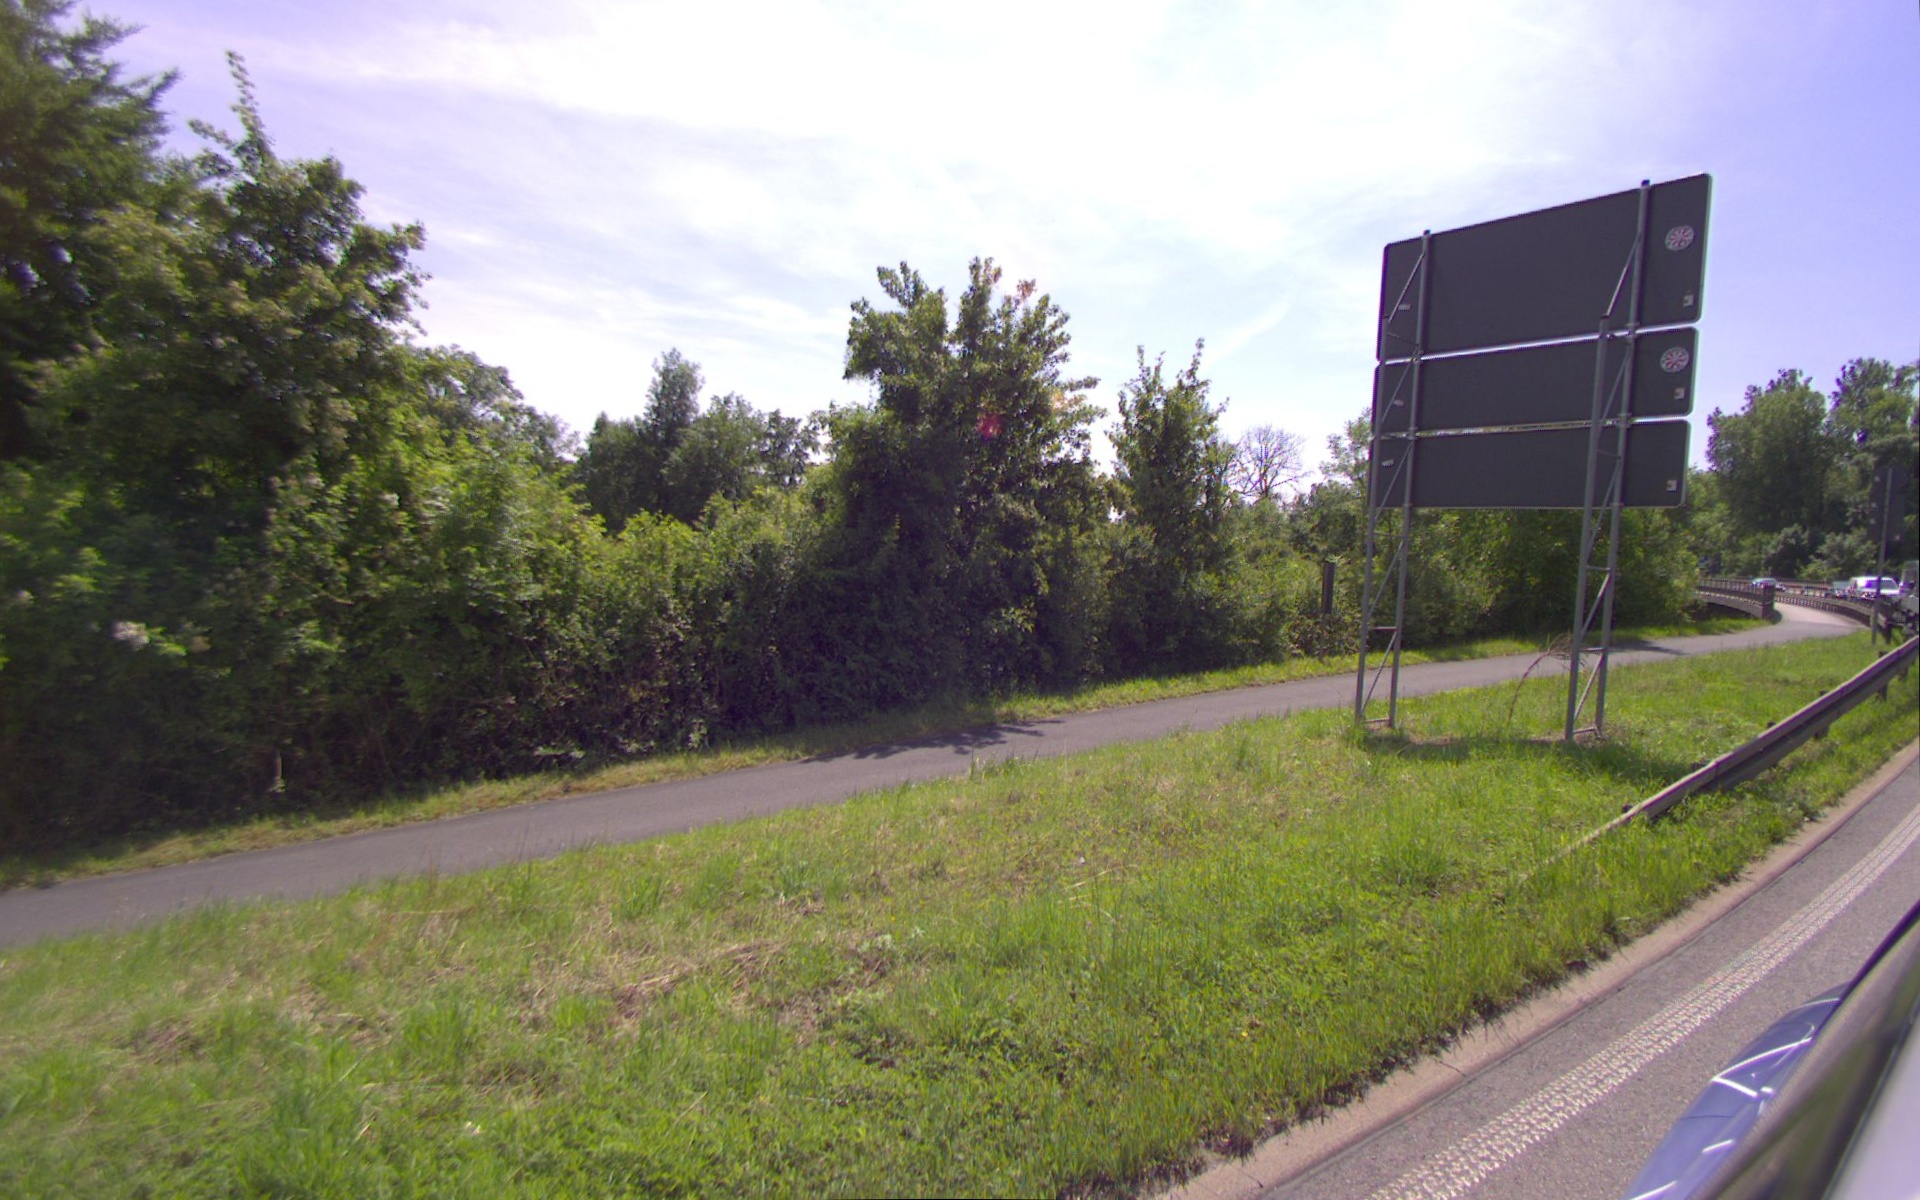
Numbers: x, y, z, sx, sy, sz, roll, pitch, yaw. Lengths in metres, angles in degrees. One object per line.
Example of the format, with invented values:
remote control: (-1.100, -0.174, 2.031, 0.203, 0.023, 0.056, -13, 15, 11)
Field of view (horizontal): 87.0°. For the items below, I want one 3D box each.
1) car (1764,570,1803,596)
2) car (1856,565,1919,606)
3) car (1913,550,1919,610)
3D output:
car: (67.619, -1.429, 83.179, 1.984, 2.038, 3.956, 0, 2, 32)
car: (49.202, -0.790, 53.707, 1.987, 2.038, 4.654, 0, 2, 35)
car: (41.193, -0.821, 41.934, 1.989, 2.515, 4.794, 0, 2, 38)
